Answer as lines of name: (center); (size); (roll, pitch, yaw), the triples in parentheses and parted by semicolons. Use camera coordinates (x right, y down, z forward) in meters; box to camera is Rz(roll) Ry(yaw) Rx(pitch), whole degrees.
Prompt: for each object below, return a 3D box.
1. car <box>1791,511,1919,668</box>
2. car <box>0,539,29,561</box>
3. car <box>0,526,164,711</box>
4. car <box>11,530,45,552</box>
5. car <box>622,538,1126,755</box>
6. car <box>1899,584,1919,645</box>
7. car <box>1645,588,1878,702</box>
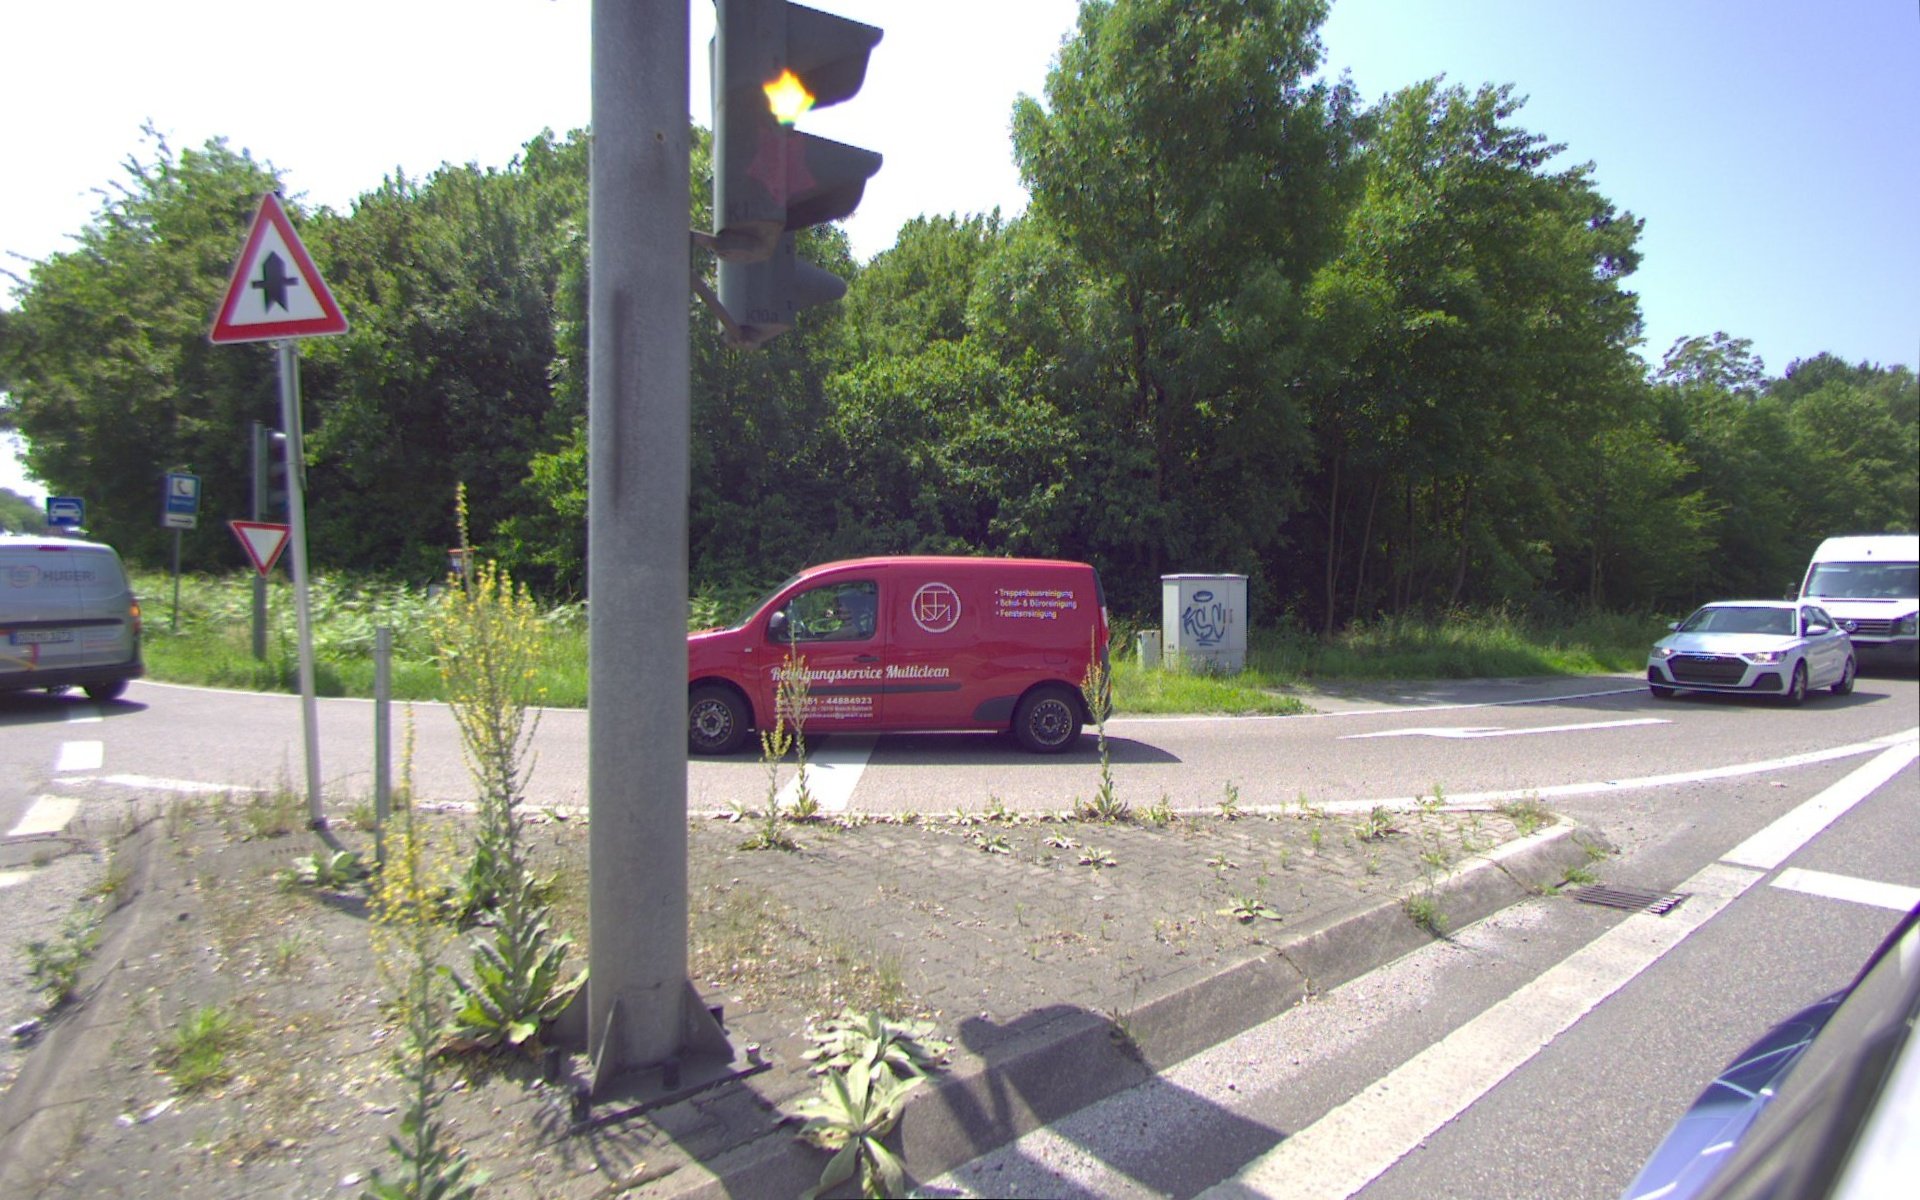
car: (18.182, -0.198, 19.714); (5.952, 2.678, 1.974); (0, 0, -40)
car: (-68.594, -3.588, 73.000); (1.814, 1.517, 4.459); (-1, 2, -39)
car: (-11.066, 0.166, 11.114); (4.059, 1.796, 1.751); (0, 0, 19)
car: (-78.762, -4.941, 85.568); (1.814, 1.772, 4.459); (-1, 2, -39)
car: (-0.804, 0.405, 9.785); (4.404, 1.846, 1.800); (0, 0, -7)
car: (25.148, 0.332, 25.507); (4.156, 1.479, 1.794); (-1, 0, -42)
car: (11.859, 0.575, 14.901); (3.925, 1.454, 1.694); (-1, -1, -36)
